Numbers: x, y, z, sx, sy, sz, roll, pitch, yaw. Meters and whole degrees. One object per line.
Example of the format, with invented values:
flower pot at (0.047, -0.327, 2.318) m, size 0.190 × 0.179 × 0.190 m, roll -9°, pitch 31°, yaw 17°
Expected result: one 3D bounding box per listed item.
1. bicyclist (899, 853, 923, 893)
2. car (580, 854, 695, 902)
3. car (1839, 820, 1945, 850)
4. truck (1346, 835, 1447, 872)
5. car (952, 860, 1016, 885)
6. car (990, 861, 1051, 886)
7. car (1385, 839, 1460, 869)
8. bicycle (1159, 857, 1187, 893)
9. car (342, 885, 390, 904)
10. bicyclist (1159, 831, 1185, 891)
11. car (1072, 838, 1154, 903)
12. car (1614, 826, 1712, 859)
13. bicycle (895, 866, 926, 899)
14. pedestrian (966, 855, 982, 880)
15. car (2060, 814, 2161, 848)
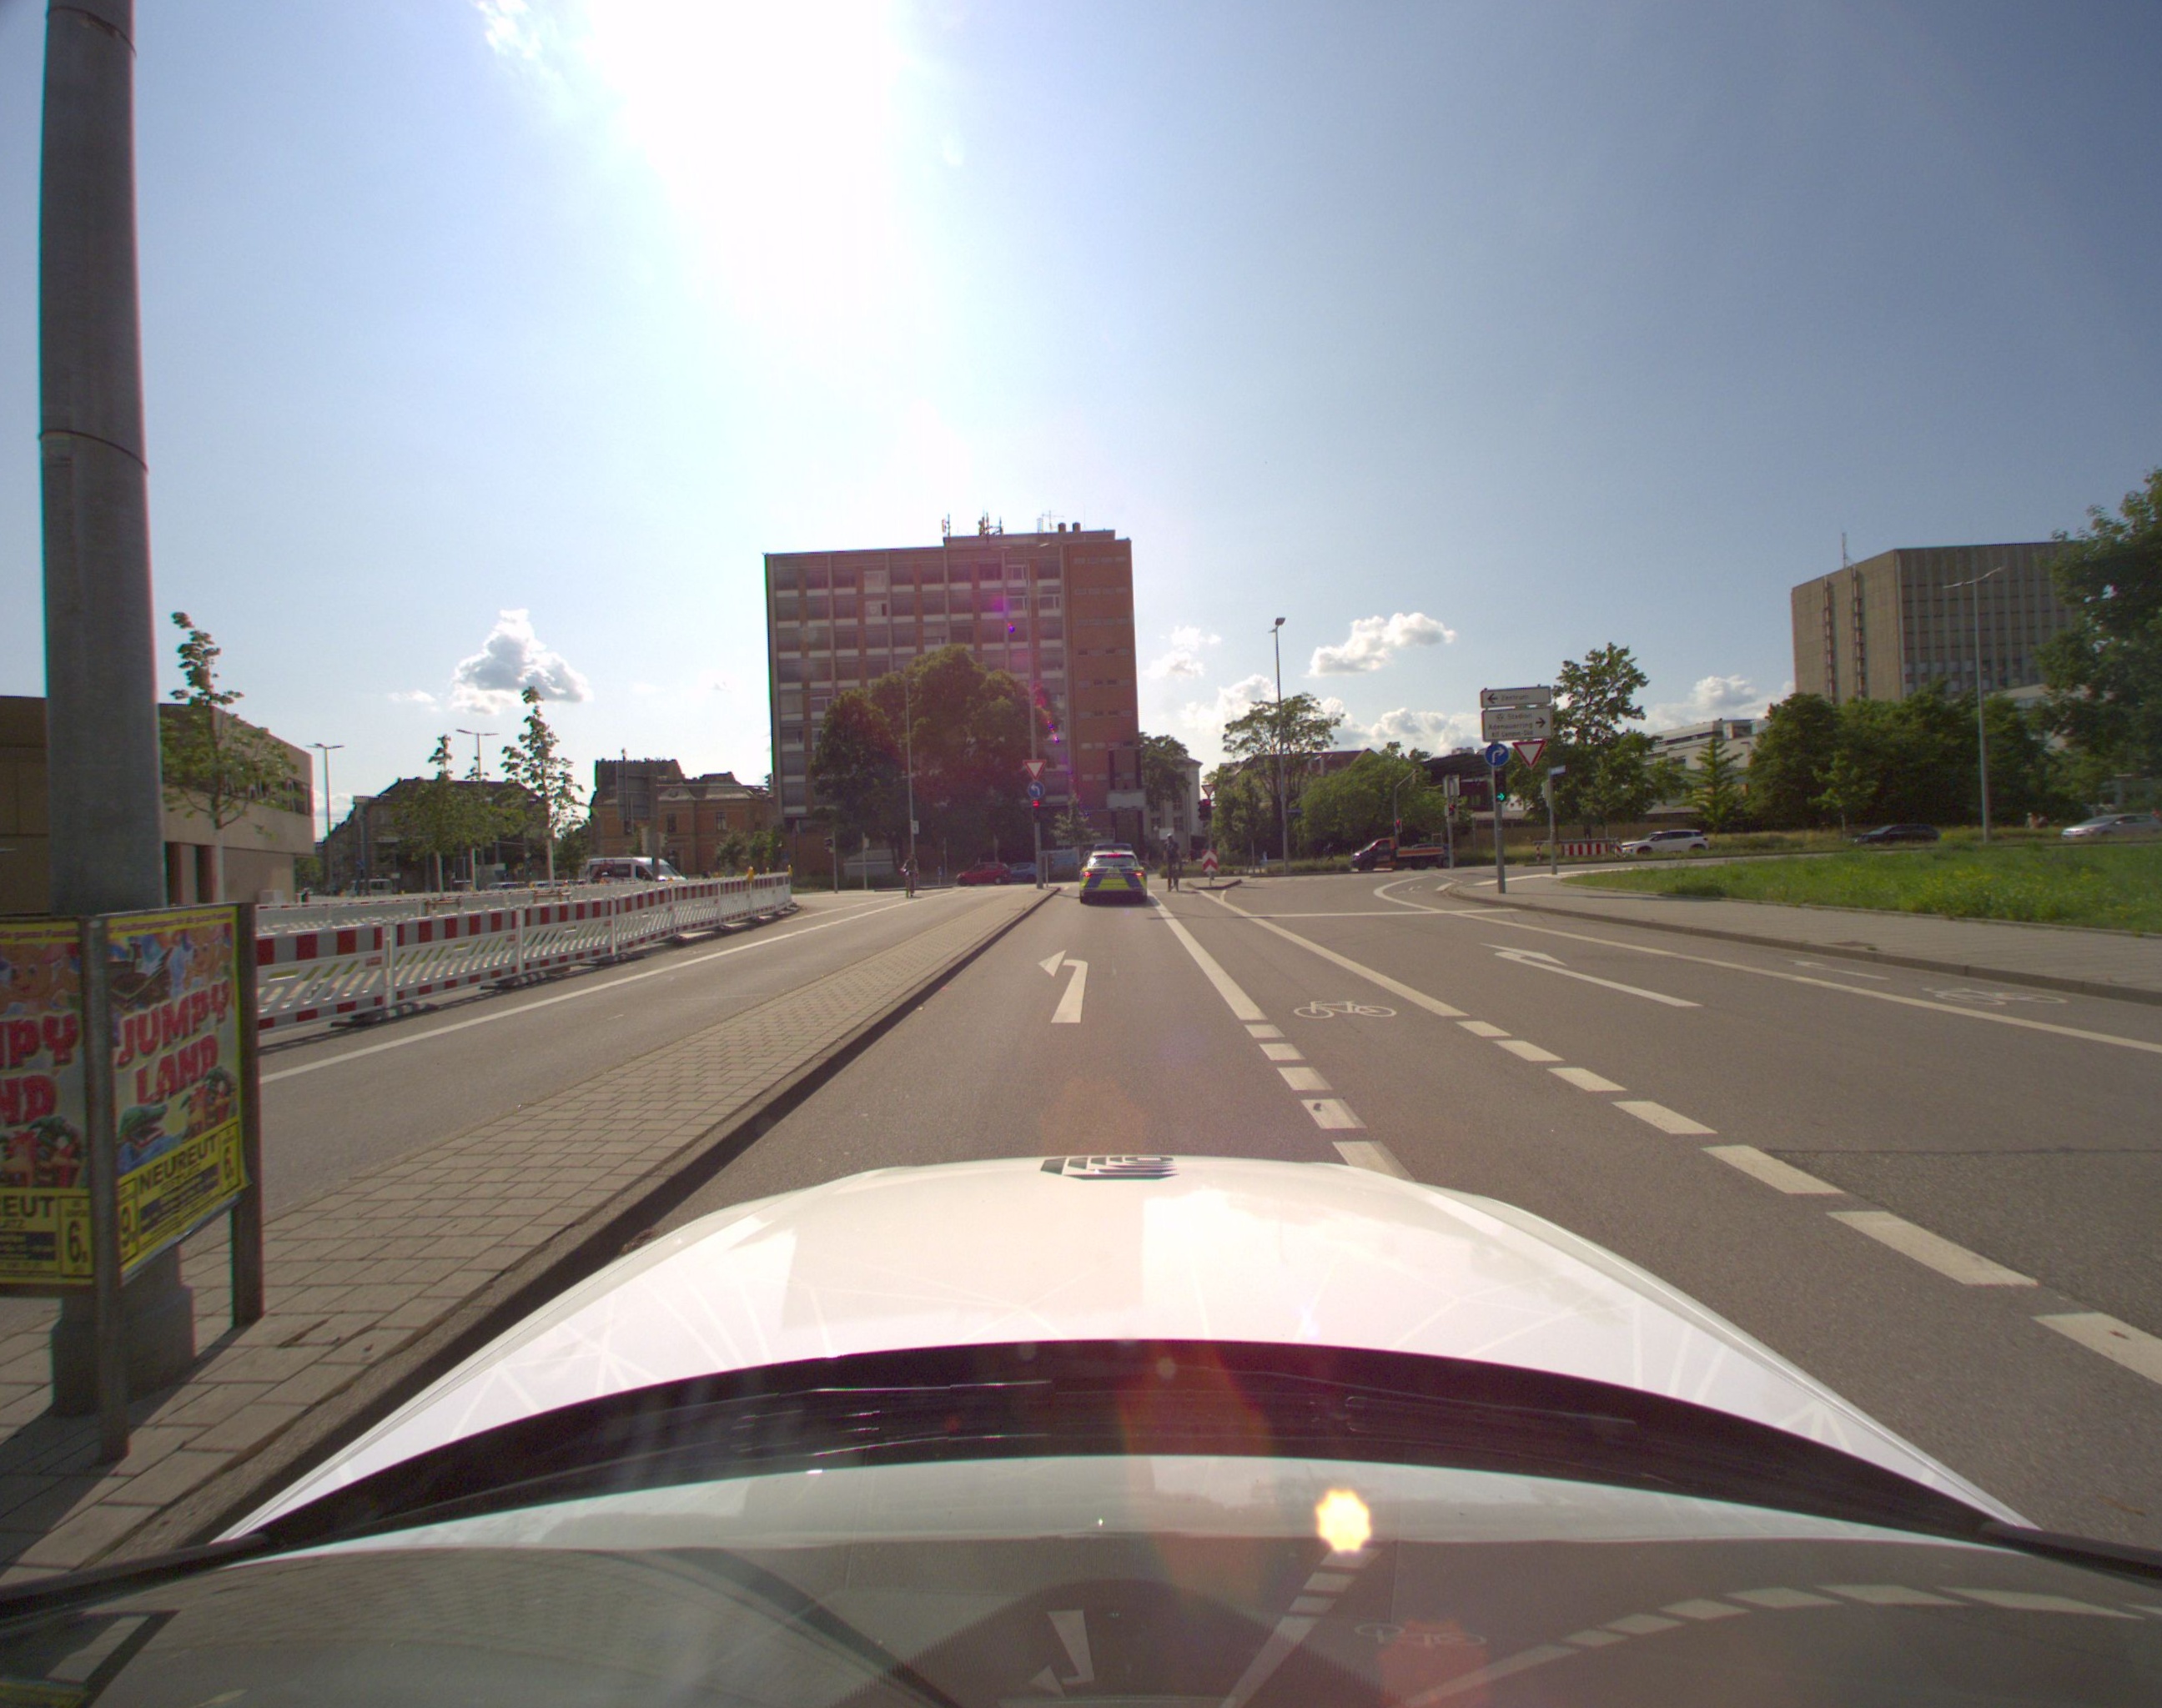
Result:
bicyclist at (-6.502, 0.702, 31.170) m, size 0.632 × 1.470 × 0.839 m, roll -3°, pitch 1°, yaw 1°
car at (-24.070, 1.316, 44.229) m, size 5.523 × 2.319 × 2.313 m, roll -3°, pitch 0°, yaw 20°
car at (43.901, -1.028, 44.151) m, size 3.893 × 1.419 × 1.628 m, roll -3°, pitch 0°, yaw 5°
truck at (18.203, -0.026, 47.224) m, size 5.084 × 1.837 × 2.006 m, roll -3°, pitch 0°, yaw 10°
car at (-6.267, 1.188, 52.699) m, size 3.697 × 1.456 × 1.632 m, roll -3°, pitch 0°, yaw 14°
car at (-4.055, 1.319, 55.122) m, size 3.697 × 1.456 × 1.632 m, roll -3°, pitch 0°, yaw 14°
car at (20.915, -0.019, 49.985) m, size 3.887 × 1.609 × 1.631 m, roll -3°, pitch 0°, yaw 10°
bicycle at (3.139, 0.693, 27.948) m, size 0.718 × 1.084 × 2.192 m, roll -3°, pitch 1°, yaw 2°
car at (-70.274, 3.989, 80.091) m, size 3.691 × 1.691 × 2.065 m, roll -3°, pitch 0°, yaw 23°
bicyclist at (3.108, 0.232, 27.865) m, size 0.715 × 1.973 × 0.840 m, roll -3°, pitch 1°, yaw 1°
car at (0.904, 0.422, 23.458) m, size 2.122 × 1.684 × 4.104 m, roll -1°, pitch 0°, yaw 2°
car at (32.131, -0.615, 45.057) m, size 4.132 × 1.609 × 1.628 m, roll -3°, pitch 0°, yaw 5°
bicycle at (-6.481, 1.063, 31.129) m, size 0.632 × 1.084 × 2.191 m, roll -3°, pitch 1°, yaw 1°
pedestrian at (-8.268, 1.065, 62.915) m, size 0.939 × 1.883 × 0.909 m, roll -3°, pitch 0°, yaw 5°
car at (55.180, -1.232, 43.358) m, size 3.892 × 1.609 × 1.629 m, roll -3°, pitch 0°, yaw 6°
